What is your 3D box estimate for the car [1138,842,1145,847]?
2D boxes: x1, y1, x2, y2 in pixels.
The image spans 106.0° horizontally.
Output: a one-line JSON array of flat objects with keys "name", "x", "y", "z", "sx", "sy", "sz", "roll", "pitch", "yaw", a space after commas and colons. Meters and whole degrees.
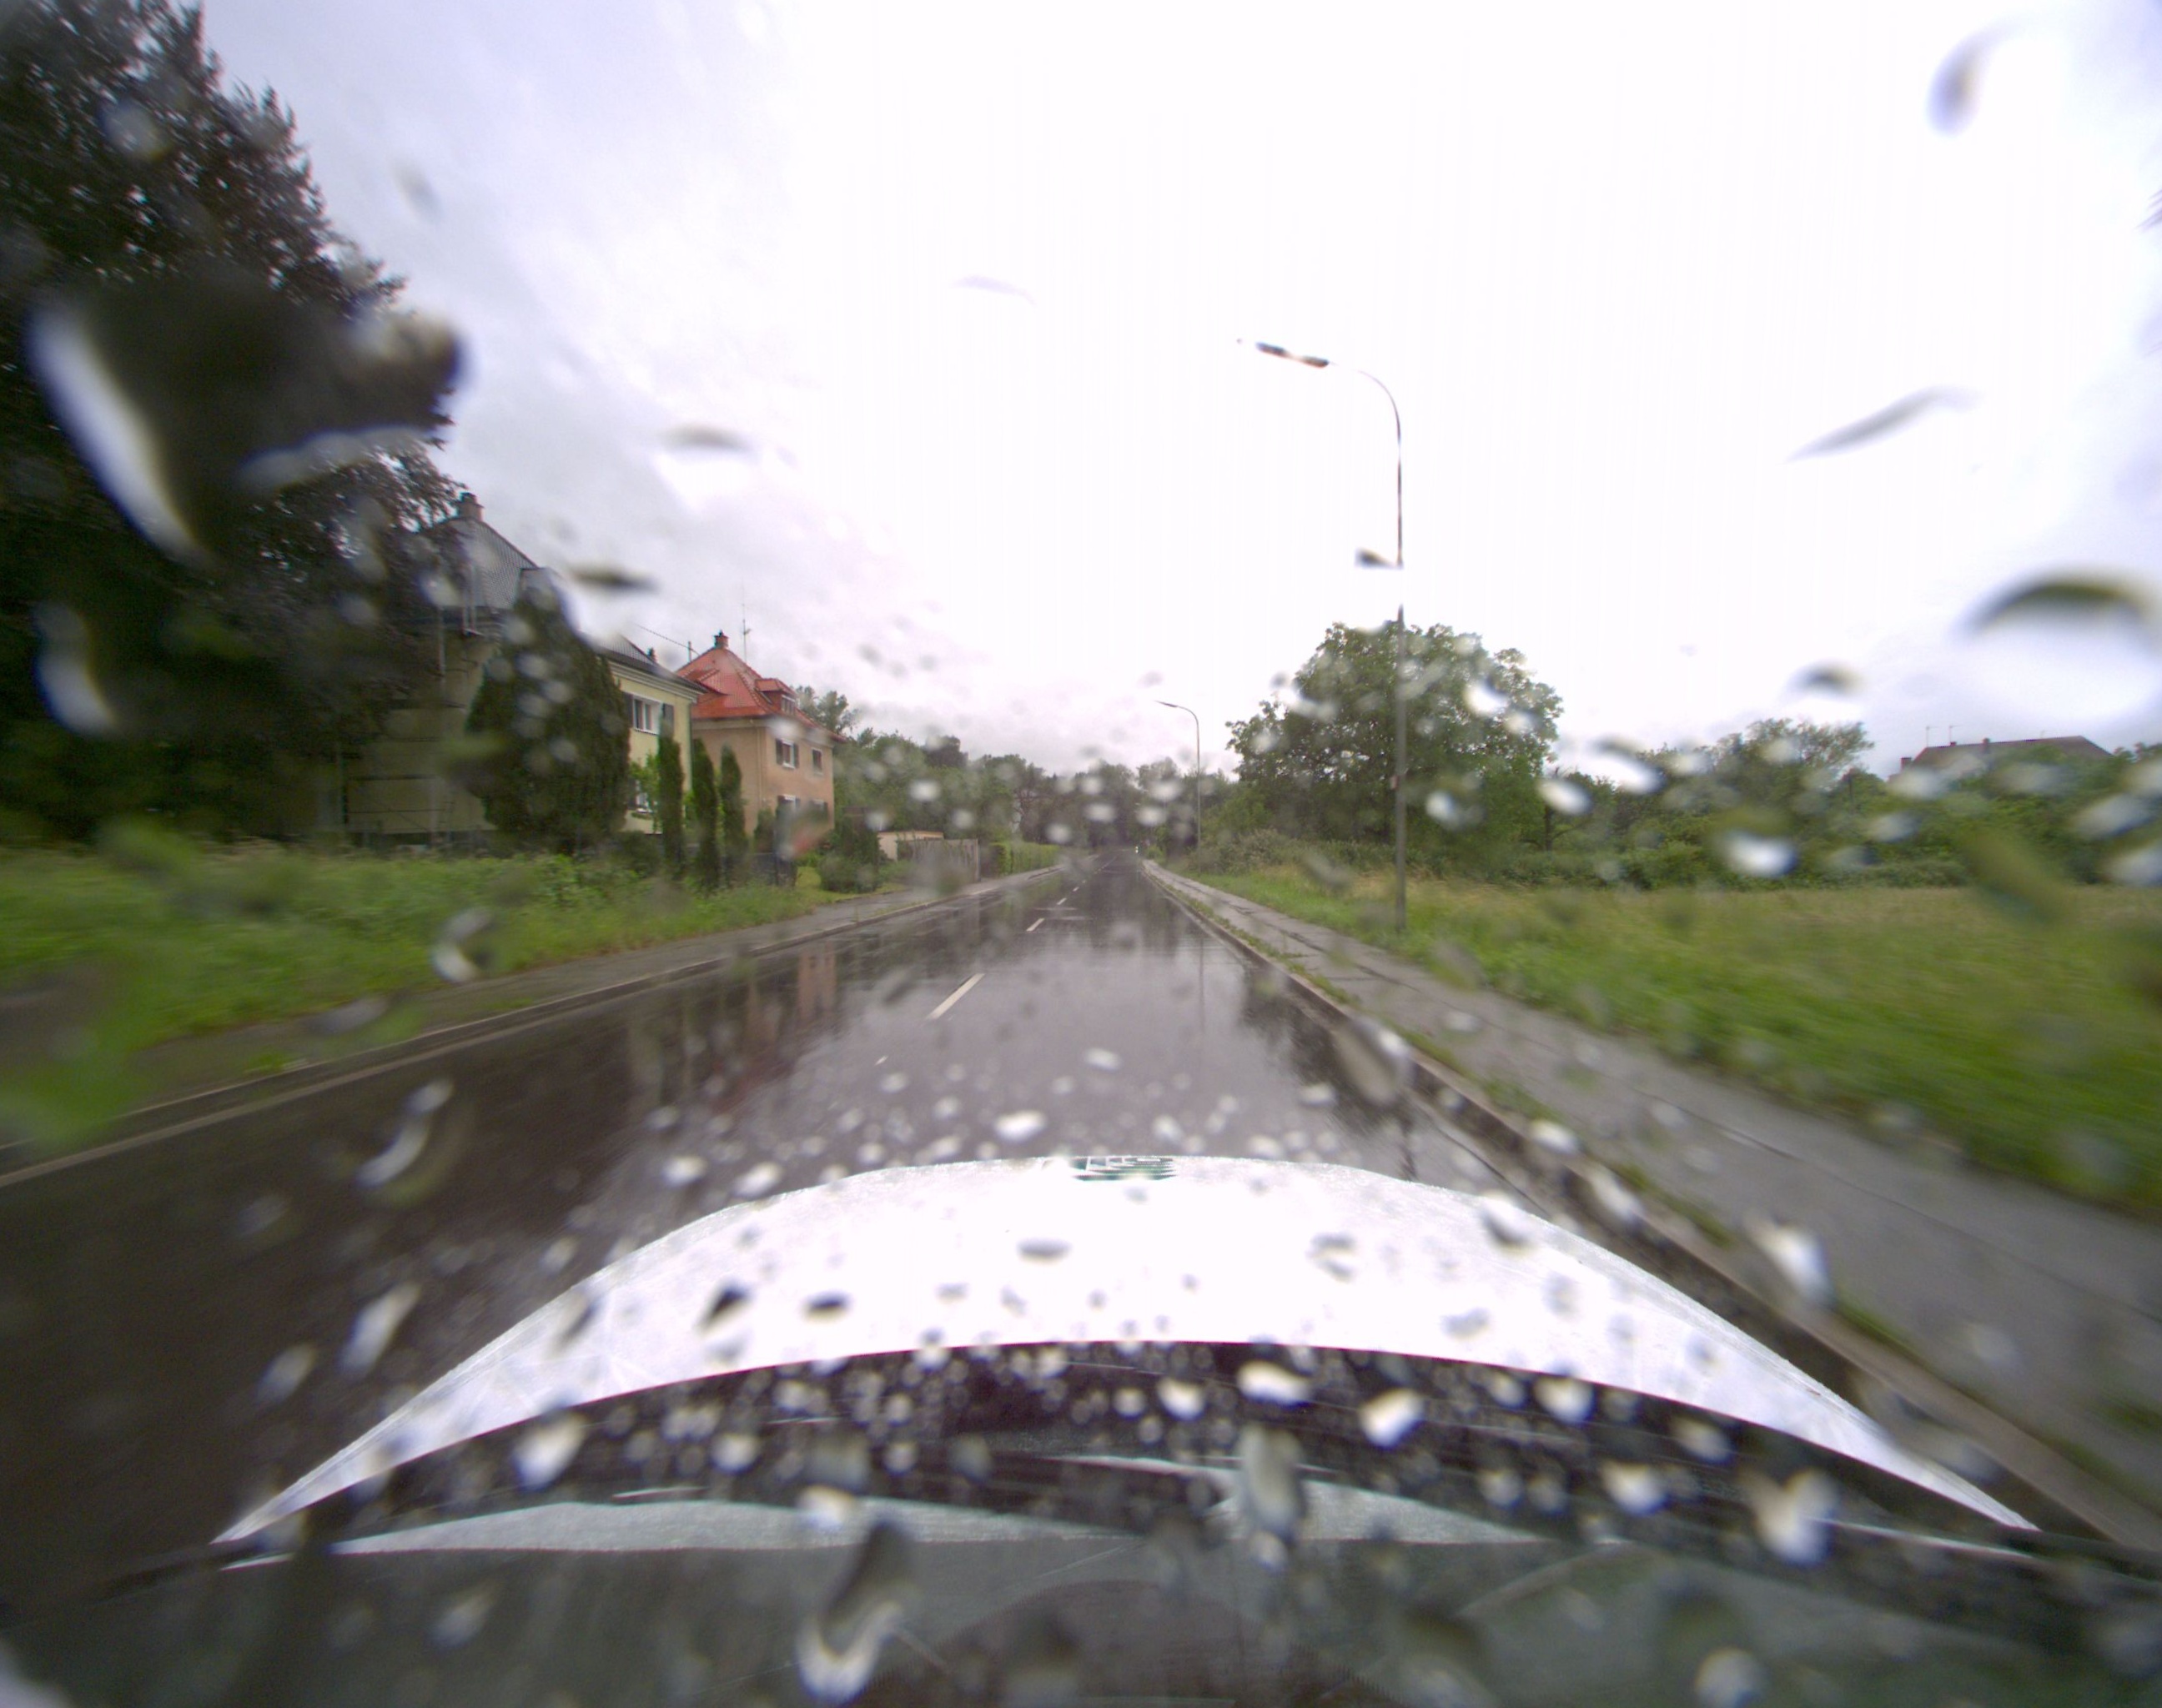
[{"name": "car", "x": 18.646, "y": -2.860, "z": 252.106, "sx": 1.985, "sy": 1.453, "sz": 4.432, "roll": 0, "pitch": 1, "yaw": 3}]
